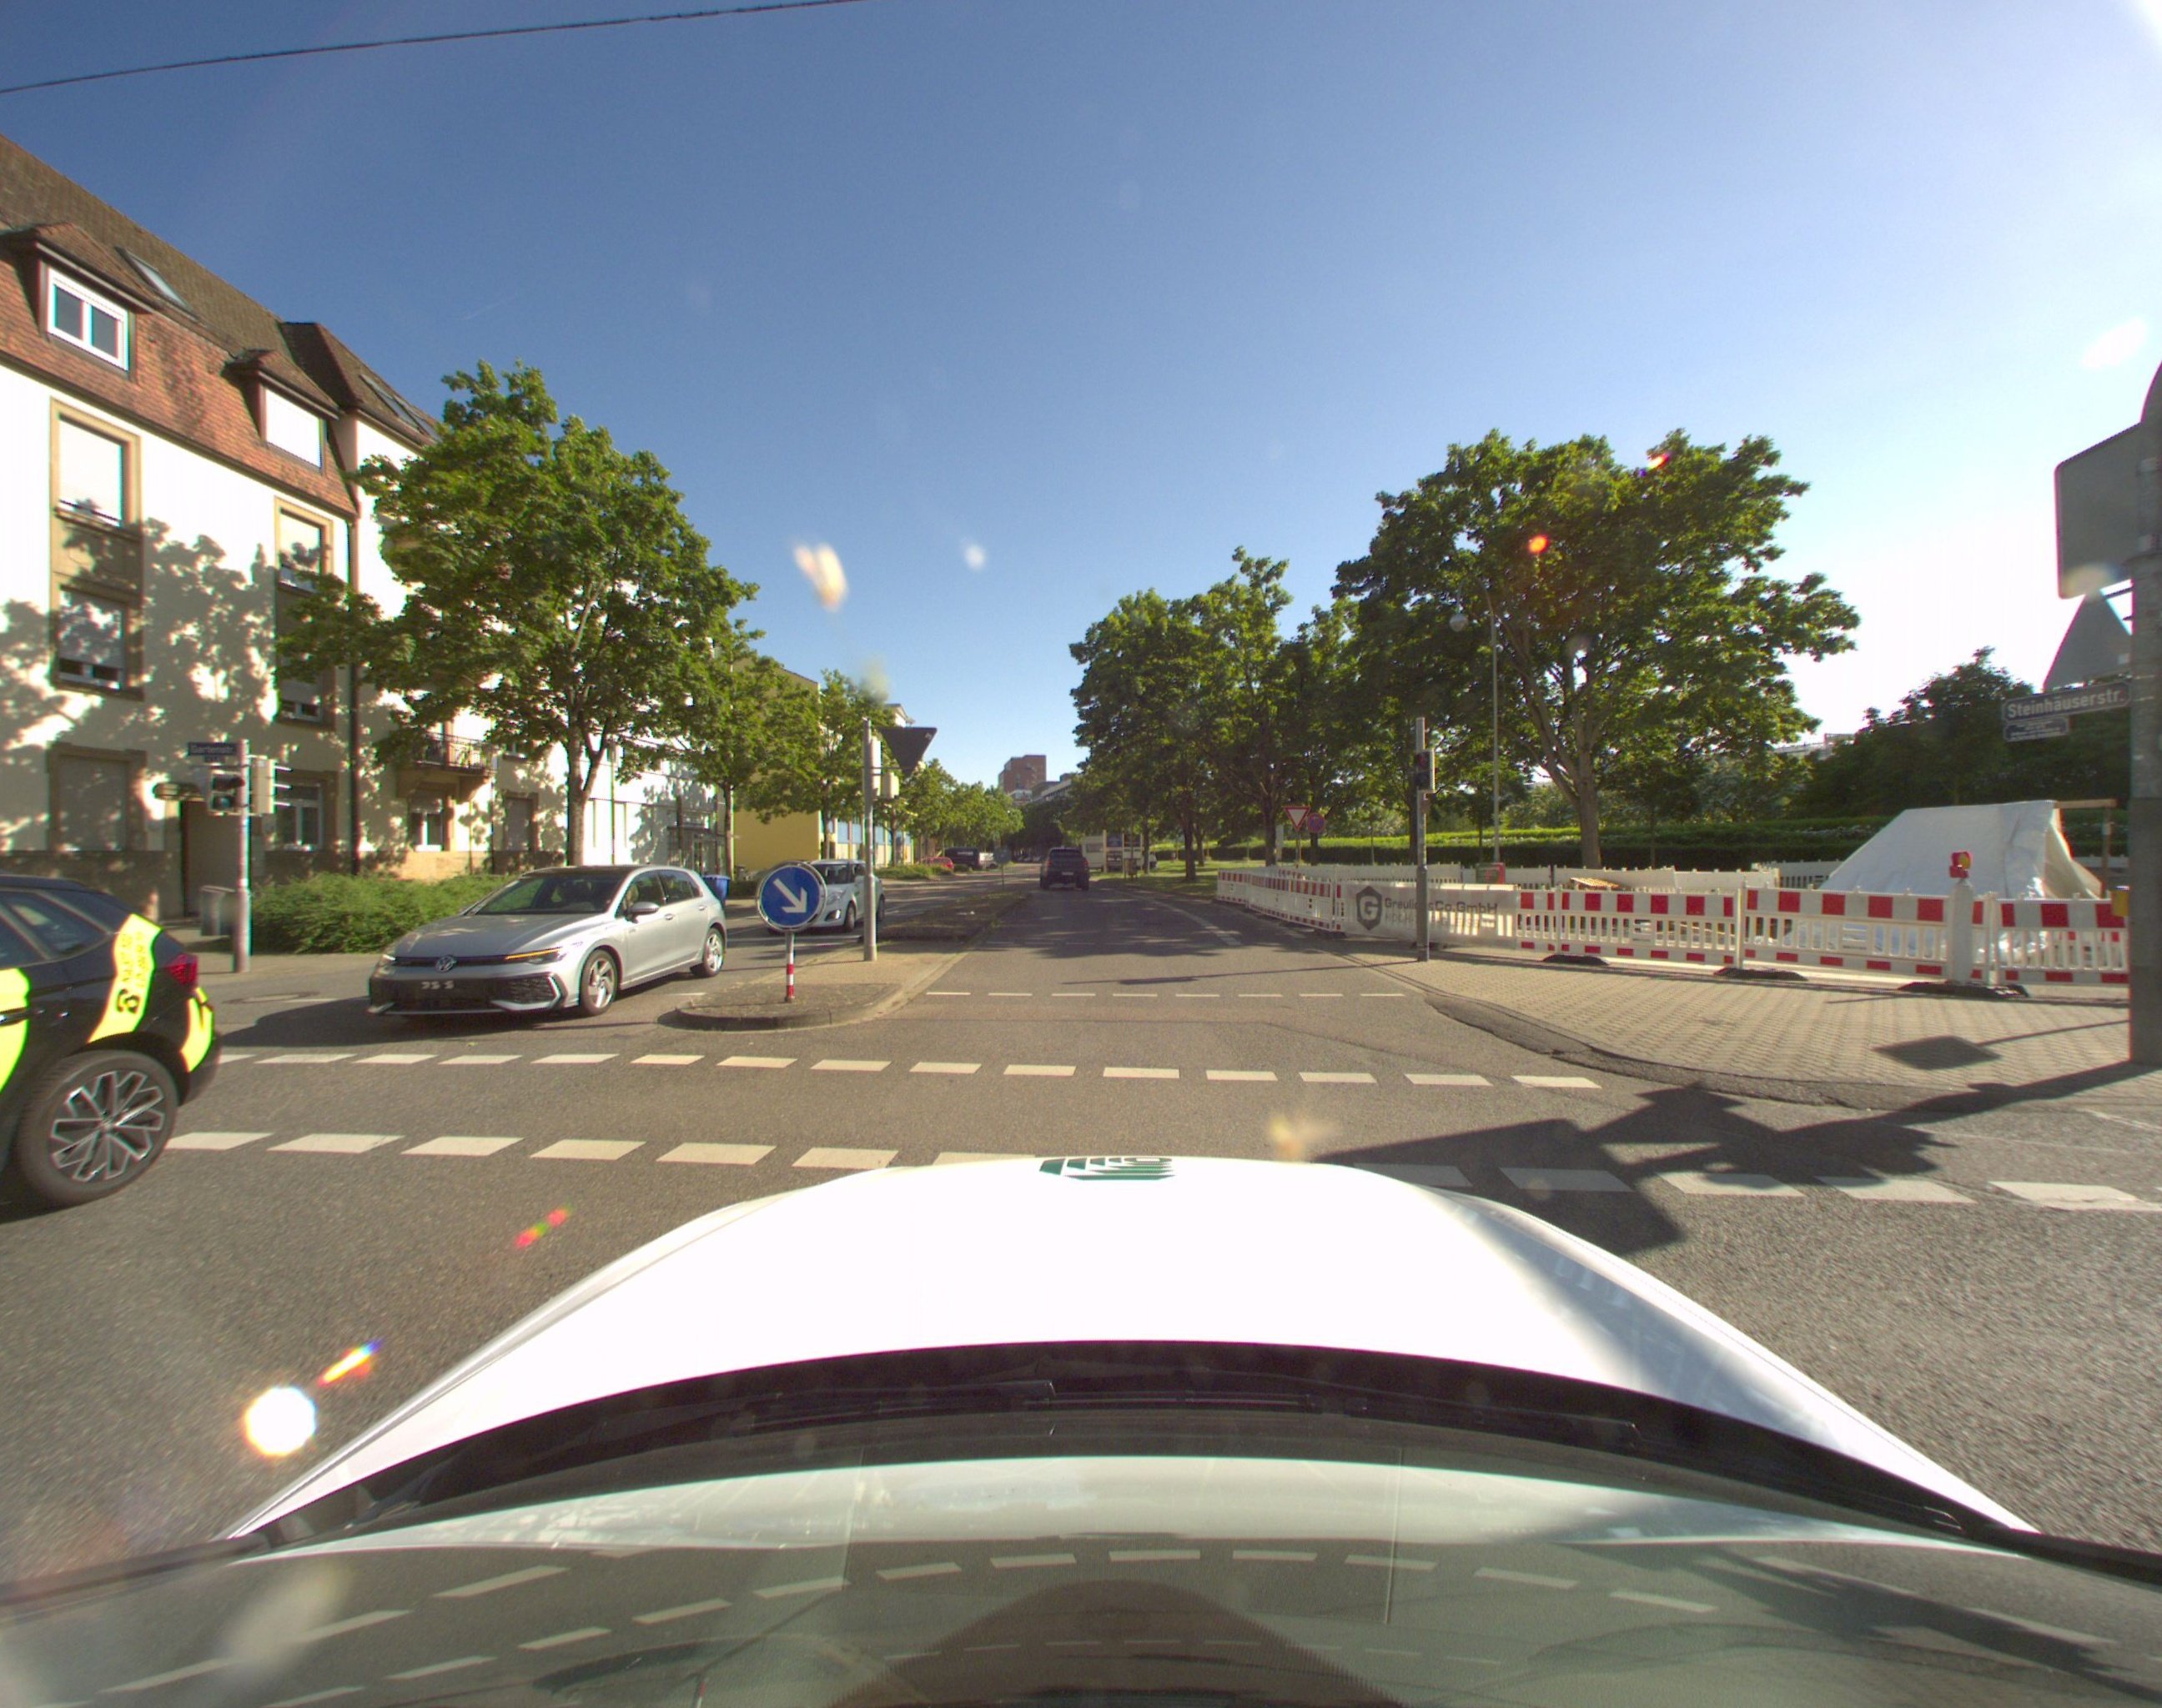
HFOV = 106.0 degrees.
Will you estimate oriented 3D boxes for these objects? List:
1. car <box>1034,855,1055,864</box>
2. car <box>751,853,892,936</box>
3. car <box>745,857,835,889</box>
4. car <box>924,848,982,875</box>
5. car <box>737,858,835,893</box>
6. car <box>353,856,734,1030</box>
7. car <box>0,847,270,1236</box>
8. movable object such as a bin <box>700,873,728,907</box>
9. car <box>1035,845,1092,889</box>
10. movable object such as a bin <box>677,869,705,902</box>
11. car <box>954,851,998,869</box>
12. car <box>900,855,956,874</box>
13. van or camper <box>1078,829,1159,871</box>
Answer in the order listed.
[{"bbox_3d":[-7.141,1.070,160.941,3.947,1.397,1.511,-3,0,-10],"label":"car"},{"bbox_3d":[-5.443,0.779,17.587,1.699,1.512,3.863,-2,0,0],"label":"car"},{"bbox_3d":[-14.253,0.917,39.923,3.900,1.510,1.810,0,-1,-32],"label":"car"},{"bbox_3d":[-12.648,0.702,80.408,5.288,2.545,1.969,-1,0,-26],"label":"car"},{"bbox_3d":[-13.393,0.950,37.051,3.900,1.510,1.809,0,-1,-33],"label":"car"},{"bbox_3d":[-5.455,0.767,8.963,1.703,1.452,3.848,-1,0,-2],"label":"car"},{"bbox_3d":[-4.987,0.742,2.210,1.787,1.513,4.105,-1,0,-8],"label":"car"},{"bbox_3d":[-11.368,1.110,25.244,0.511,1.047,0.640,0,0,10],"label":"movable object such as a bin"},{"bbox_3d":[-0.879,0.528,36.635,2.131,1.835,4.929,-1,0,-6],"label":"car"},{"bbox_3d":[-12.190,0.977,25.457,0.511,0.976,0.640,0,0,10],"label":"movable object such as a bin"},{"bbox_3d":[-12.686,0.750,98.439,4.921,2.083,1.964,-1,0,-35],"label":"car"},{"bbox_3d":[-13.092,0.891,69.728,4.429,1.552,1.905,-1,0,-25],"label":"car"},{"bbox_3d":[2.842,-0.290,63.681,6.062,2.928,2.574,-3,0,-2],"label":"van or camper"}]
